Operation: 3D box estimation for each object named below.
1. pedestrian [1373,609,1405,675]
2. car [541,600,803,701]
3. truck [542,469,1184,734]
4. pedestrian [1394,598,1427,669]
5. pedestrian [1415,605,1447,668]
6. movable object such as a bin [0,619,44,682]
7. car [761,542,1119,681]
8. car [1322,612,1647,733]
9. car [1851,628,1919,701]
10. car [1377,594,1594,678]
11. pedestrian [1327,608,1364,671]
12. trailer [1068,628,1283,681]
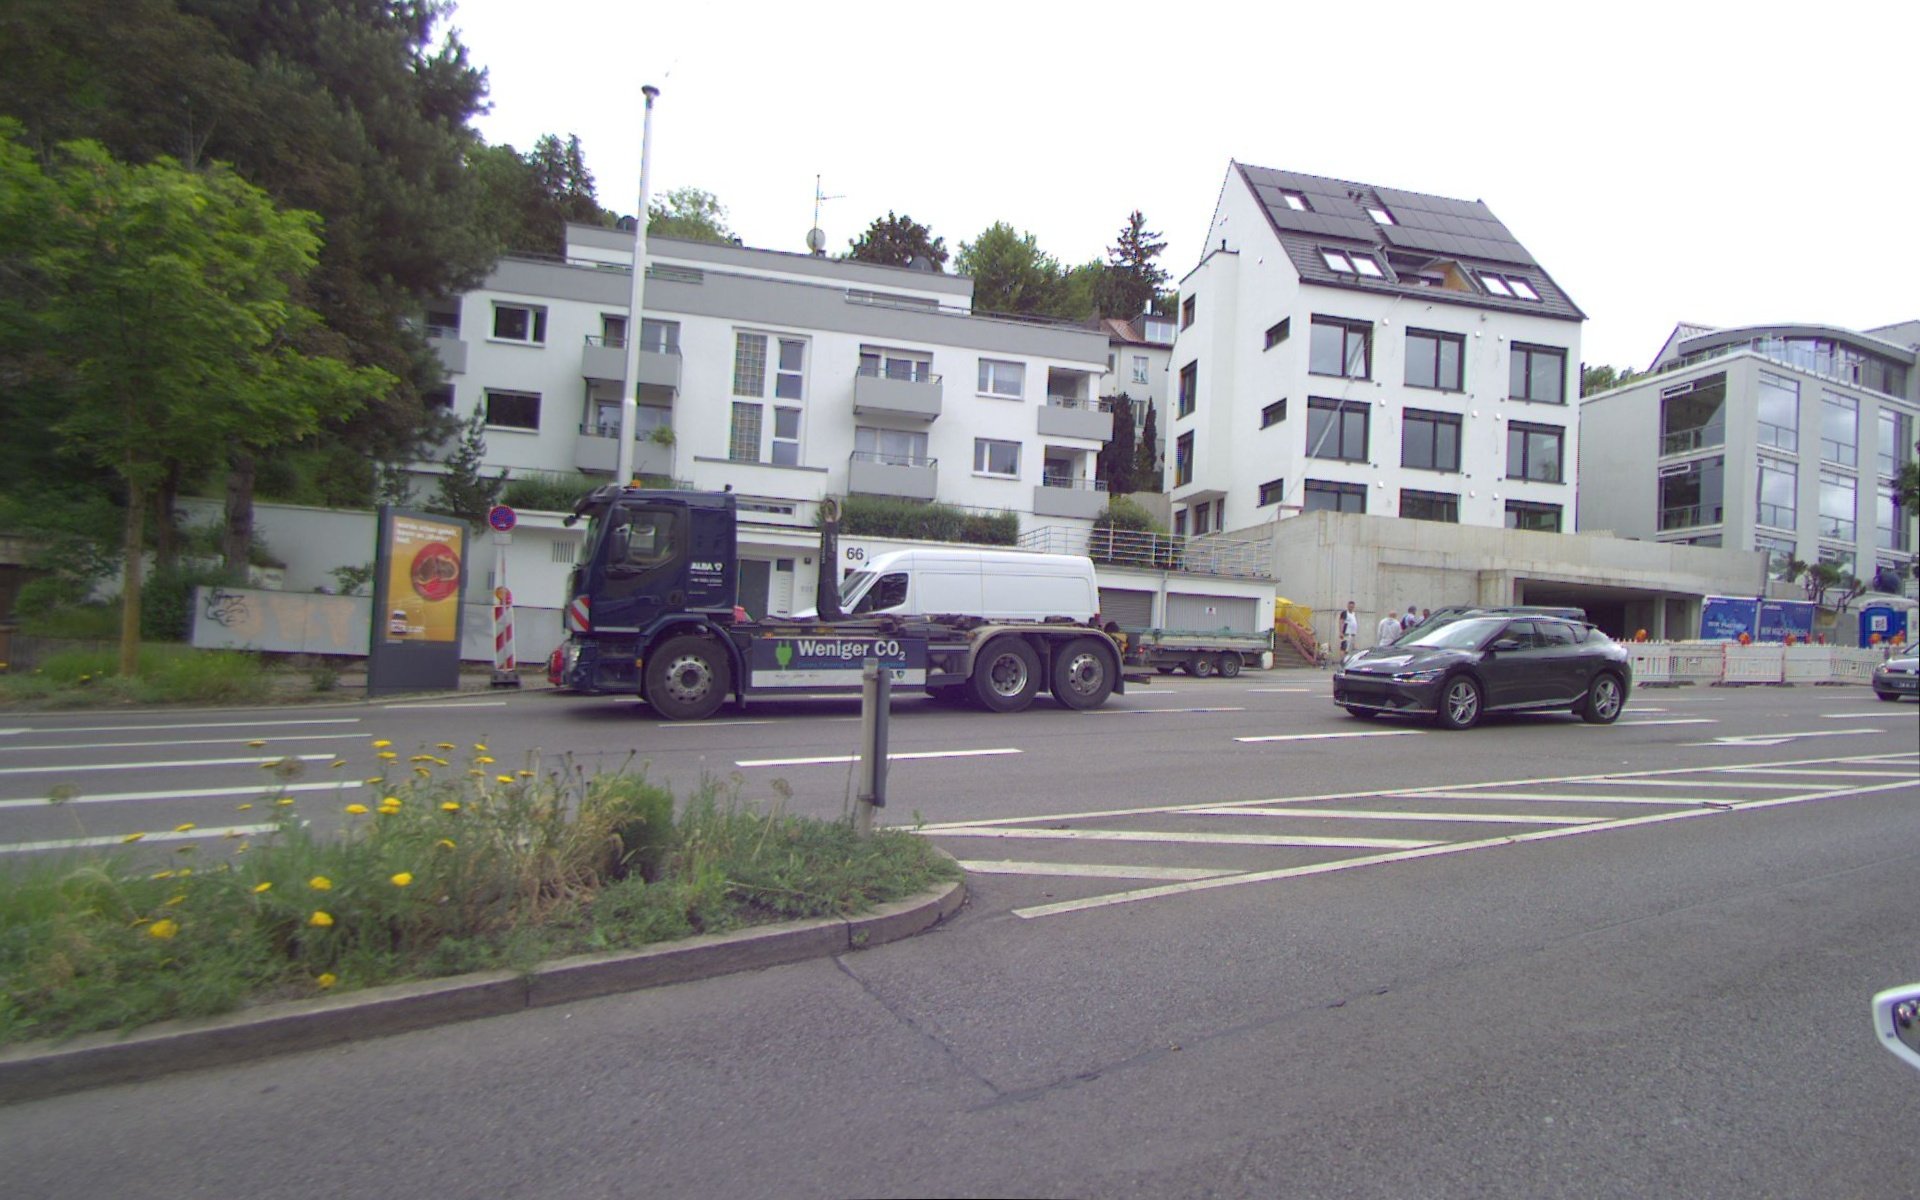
[{"bbox_3d":[11.296,1.090,26.450,0.662,1.662,0.672,2,1,18],"label":"pedestrian"},{"bbox_3d":[-4.686,0.786,16.429,3.878,1.485,1.615,1,-1,-29],"label":"car"},{"bbox_3d":[-1.230,0.084,14.660,8.858,3.011,2.952,1,0,-26],"label":"truck"},{"bbox_3d":[12.131,0.887,27.074,0.662,1.865,0.672,2,1,18],"label":"pedestrian"},{"bbox_3d":[12.942,0.985,27.613,0.662,1.662,0.672,2,1,18],"label":"pedestrian"},{"bbox_3d":[-16.452,0.866,17.308,0.716,1.025,0.641,2,1,-4],"label":"movable object such as a bin"},{"bbox_3d":[-0.338,0.291,21.298,7.320,2.602,2.225,1,-1,-25],"label":"car"},{"bbox_3d":[7.555,0.972,14.455,4.421,1.516,1.692,1,0,-22],"label":"car"},{"bbox_3d":[20.780,1.322,20.796,4.222,1.412,1.839,1,-1,-22],"label":"car"},{"bbox_3d":[13.463,0.912,25.746,5.138,1.993,1.980,1,-1,-20],"label":"car"},{"bbox_3d":[10.439,1.060,27.207,0.659,1.662,0.627,2,1,-6],"label":"pedestrian"},{"bbox_3d":[5.086,1.248,23.716,4.559,1.127,2.240,1,-1,-25],"label":"trailer"}]
